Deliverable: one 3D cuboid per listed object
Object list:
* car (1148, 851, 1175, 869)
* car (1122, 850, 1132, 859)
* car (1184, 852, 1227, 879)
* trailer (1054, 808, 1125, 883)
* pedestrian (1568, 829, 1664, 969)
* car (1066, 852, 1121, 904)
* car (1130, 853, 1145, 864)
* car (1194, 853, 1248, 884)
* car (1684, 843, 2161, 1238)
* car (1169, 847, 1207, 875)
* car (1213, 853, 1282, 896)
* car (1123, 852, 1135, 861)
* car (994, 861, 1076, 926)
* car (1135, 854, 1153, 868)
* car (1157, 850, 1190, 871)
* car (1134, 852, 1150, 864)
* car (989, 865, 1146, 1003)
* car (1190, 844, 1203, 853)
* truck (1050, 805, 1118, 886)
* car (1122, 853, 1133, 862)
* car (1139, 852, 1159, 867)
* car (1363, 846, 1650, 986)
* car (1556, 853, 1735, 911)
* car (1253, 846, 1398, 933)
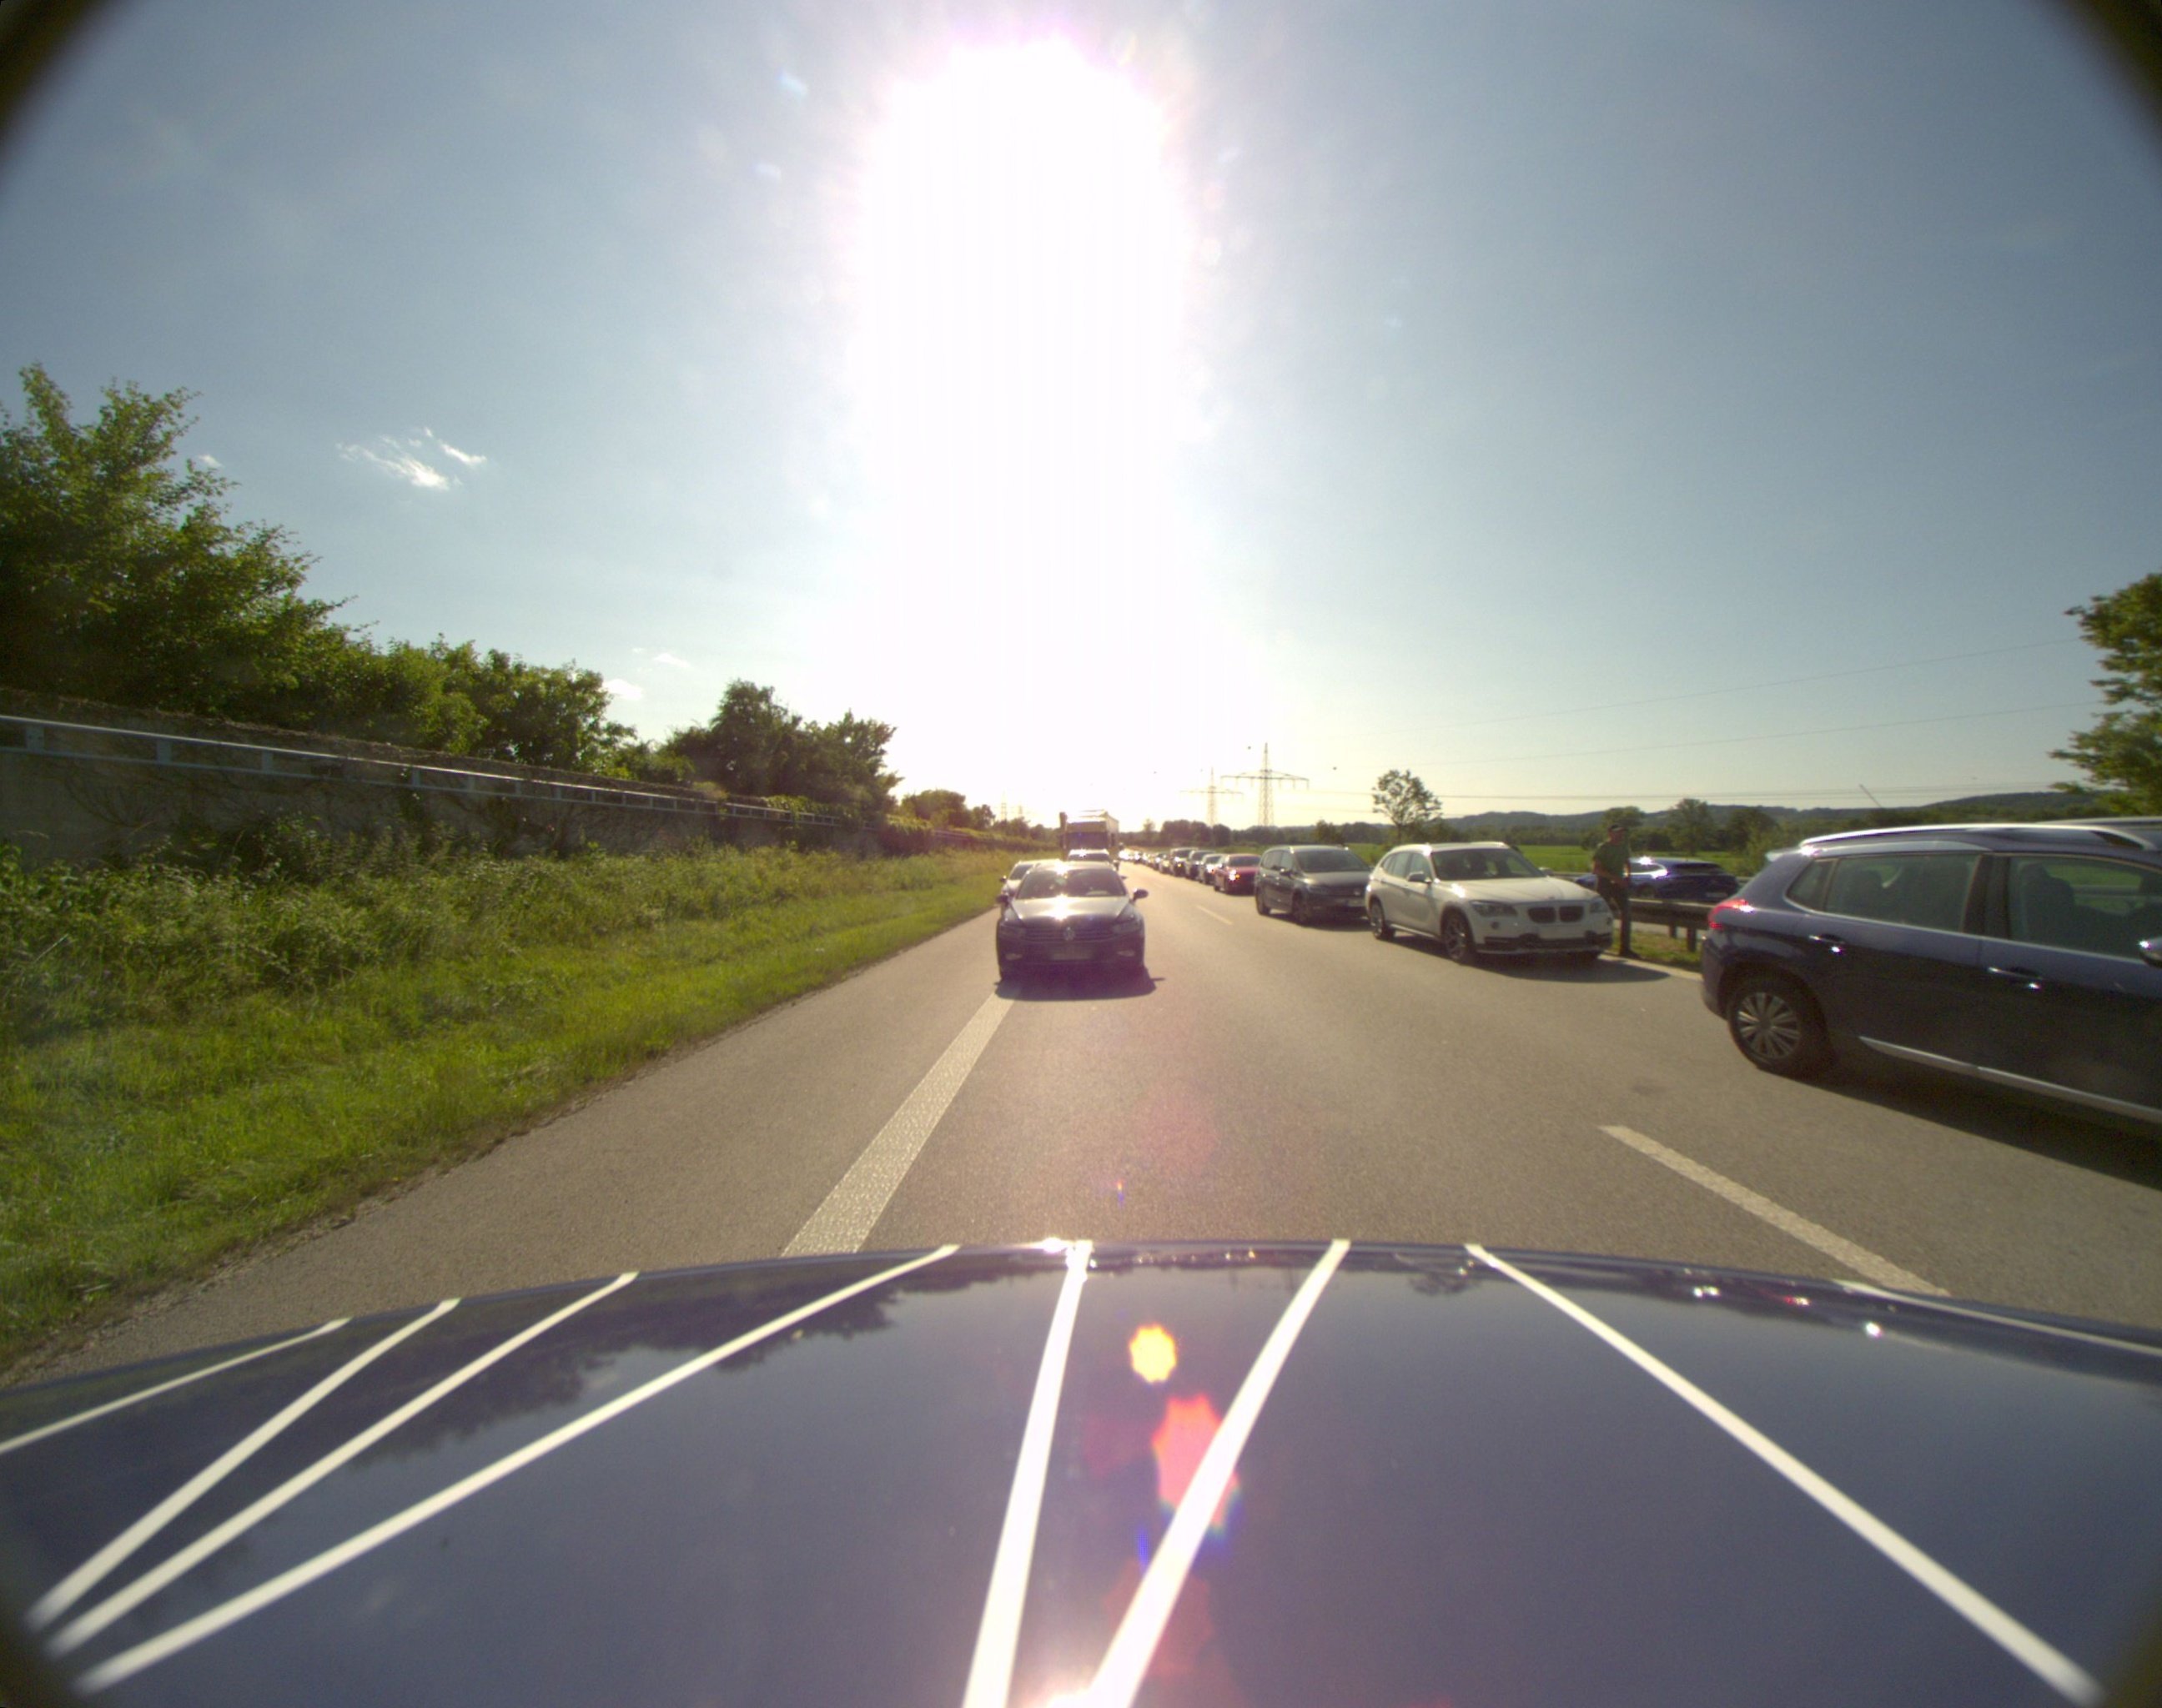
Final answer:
[{"bbox_3d":[7.006,0.522,66.361,1.998,1.522,4.000,-1,0,1],"label":"car"},{"bbox_3d":[8.511,0.087,140.922,1.813,1.783,3.773,-1,0,1],"label":"car"},{"bbox_3d":[6.983,0.617,43.020,1.894,1.446,4.000,-1,0,2],"label":"car"},{"bbox_3d":[0.866,-0.569,49.434,3.386,4.089,13.956,-2,1,5],"label":"trailer"},{"bbox_3d":[6.928,0.560,9.879,0.672,1.740,0.814,-1,1,1],"label":"pedestrian"},{"bbox_3d":[0.473,0.772,26.499,1.716,1.614,4.326,-2,0,2],"label":"car"},{"bbox_3d":[7.786,0.581,105.572,1.819,1.450,4.117,-2,0,1],"label":"car"},{"bbox_3d":[6.739,0.673,36.933,1.895,1.390,4.000,-1,0,1],"label":"car"},{"bbox_3d":[5.146,0.742,3.369,1.692,1.526,3.948,-3,0,-2],"label":"car"},{"bbox_3d":[6.980,0.430,49.890,1.902,1.777,4.200,-1,0,1],"label":"car"},{"bbox_3d":[6.094,0.708,28.242,1.819,1.450,4.118,-1,0,3],"label":"car"},{"bbox_3d":[7.939,0.425,125.947,1.819,1.450,4.118,-2,0,3],"label":"car"},{"bbox_3d":[-1.105,0.950,20.072,1.716,1.417,4.326,-2,0,2],"label":"car"},{"bbox_3d":[7.174,0.780,86.459,1.819,1.450,4.117,-1,0,1],"label":"car"},{"bbox_3d":[6.924,0.470,57.067,1.998,1.522,4.000,-1,0,1],"label":"car"},{"bbox_3d":[7.766,0.539,97.143,1.819,1.450,4.118,-1,0,2],"label":"car"},{"bbox_3d":[-0.090,0.934,10.700,1.716,1.405,4.326,-2,0,2],"label":"car"},{"bbox_3d":[20.528,-0.999,135.120,1.863,1.622,4.393,-2,1,3],"label":"car"},{"bbox_3d":[0.324,-0.480,43.347,3.332,4.089,6.970,-2,1,3],"label":"truck"},{"bbox_3d":[8.077,0.584,131.593,1.819,1.450,4.118,-1,0,3],"label":"car"},{"bbox_3d":[7.096,0.581,79.866,1.819,1.450,4.118,-2,0,3],"label":"car"},{"bbox_3d":[5.629,0.699,10.762,1.832,1.564,4.164,-1,0,2],"label":"car"},{"bbox_3d":[15.643,0.707,21.413,1.716,1.405,4.567,-2,0,2],"label":"car"},{"bbox_3d":[5.111,0.665,16.496,1.819,1.606,4.117,-2,0,1],"label":"car"}]
